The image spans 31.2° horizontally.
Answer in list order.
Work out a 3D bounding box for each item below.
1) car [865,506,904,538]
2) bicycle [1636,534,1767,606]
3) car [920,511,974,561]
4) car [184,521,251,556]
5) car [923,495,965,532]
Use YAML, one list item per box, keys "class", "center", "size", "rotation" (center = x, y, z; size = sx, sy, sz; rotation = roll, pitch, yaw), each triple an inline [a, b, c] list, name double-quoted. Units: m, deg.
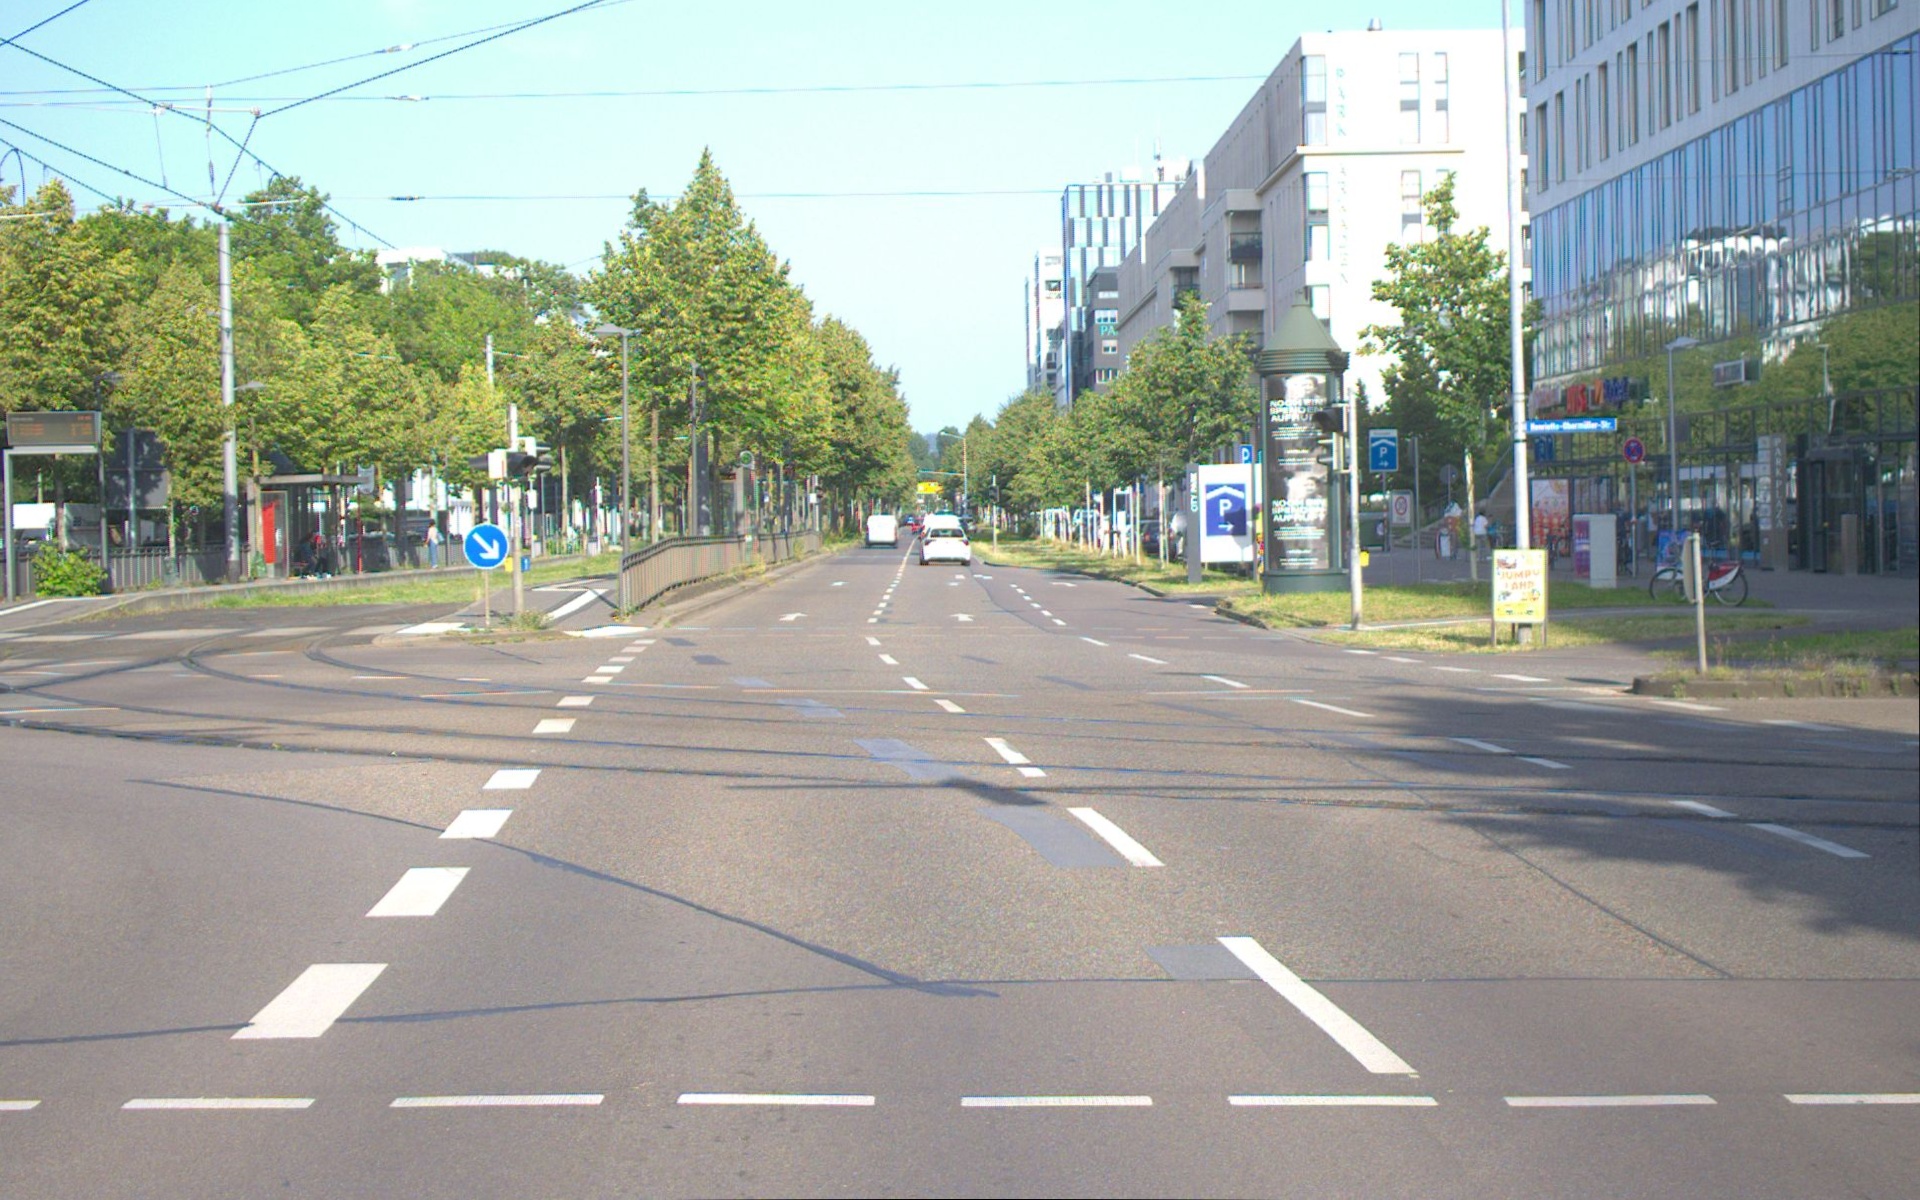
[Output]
- class: "car"
  center: [-4.130, -4.282, 189.186]
  size: [2.014, 1.678, 4.000]
  rotation: [1, 2, 0]
- class: "bicycle"
  center: [11.535, -0.472, 53.529]
  size: [0.771, 1.028, 1.878]
  rotation: [-2, 4, -44]
- class: "car"
  center: [-0.461, -2.303, 122.912]
  size: [1.864, 1.678, 4.000]
  rotation: [1, 2, 0]
- class: "car"
  center: [-33.776, -2.795, 156.468]
  size: [1.881, 1.554, 4.000]
  rotation: [-1, 1, 5]
- class: "car"
  center: [-0.713, -4.001, 158.380]
  size: [1.864, 1.678, 4.000]
  rotation: [1, 2, 0]
